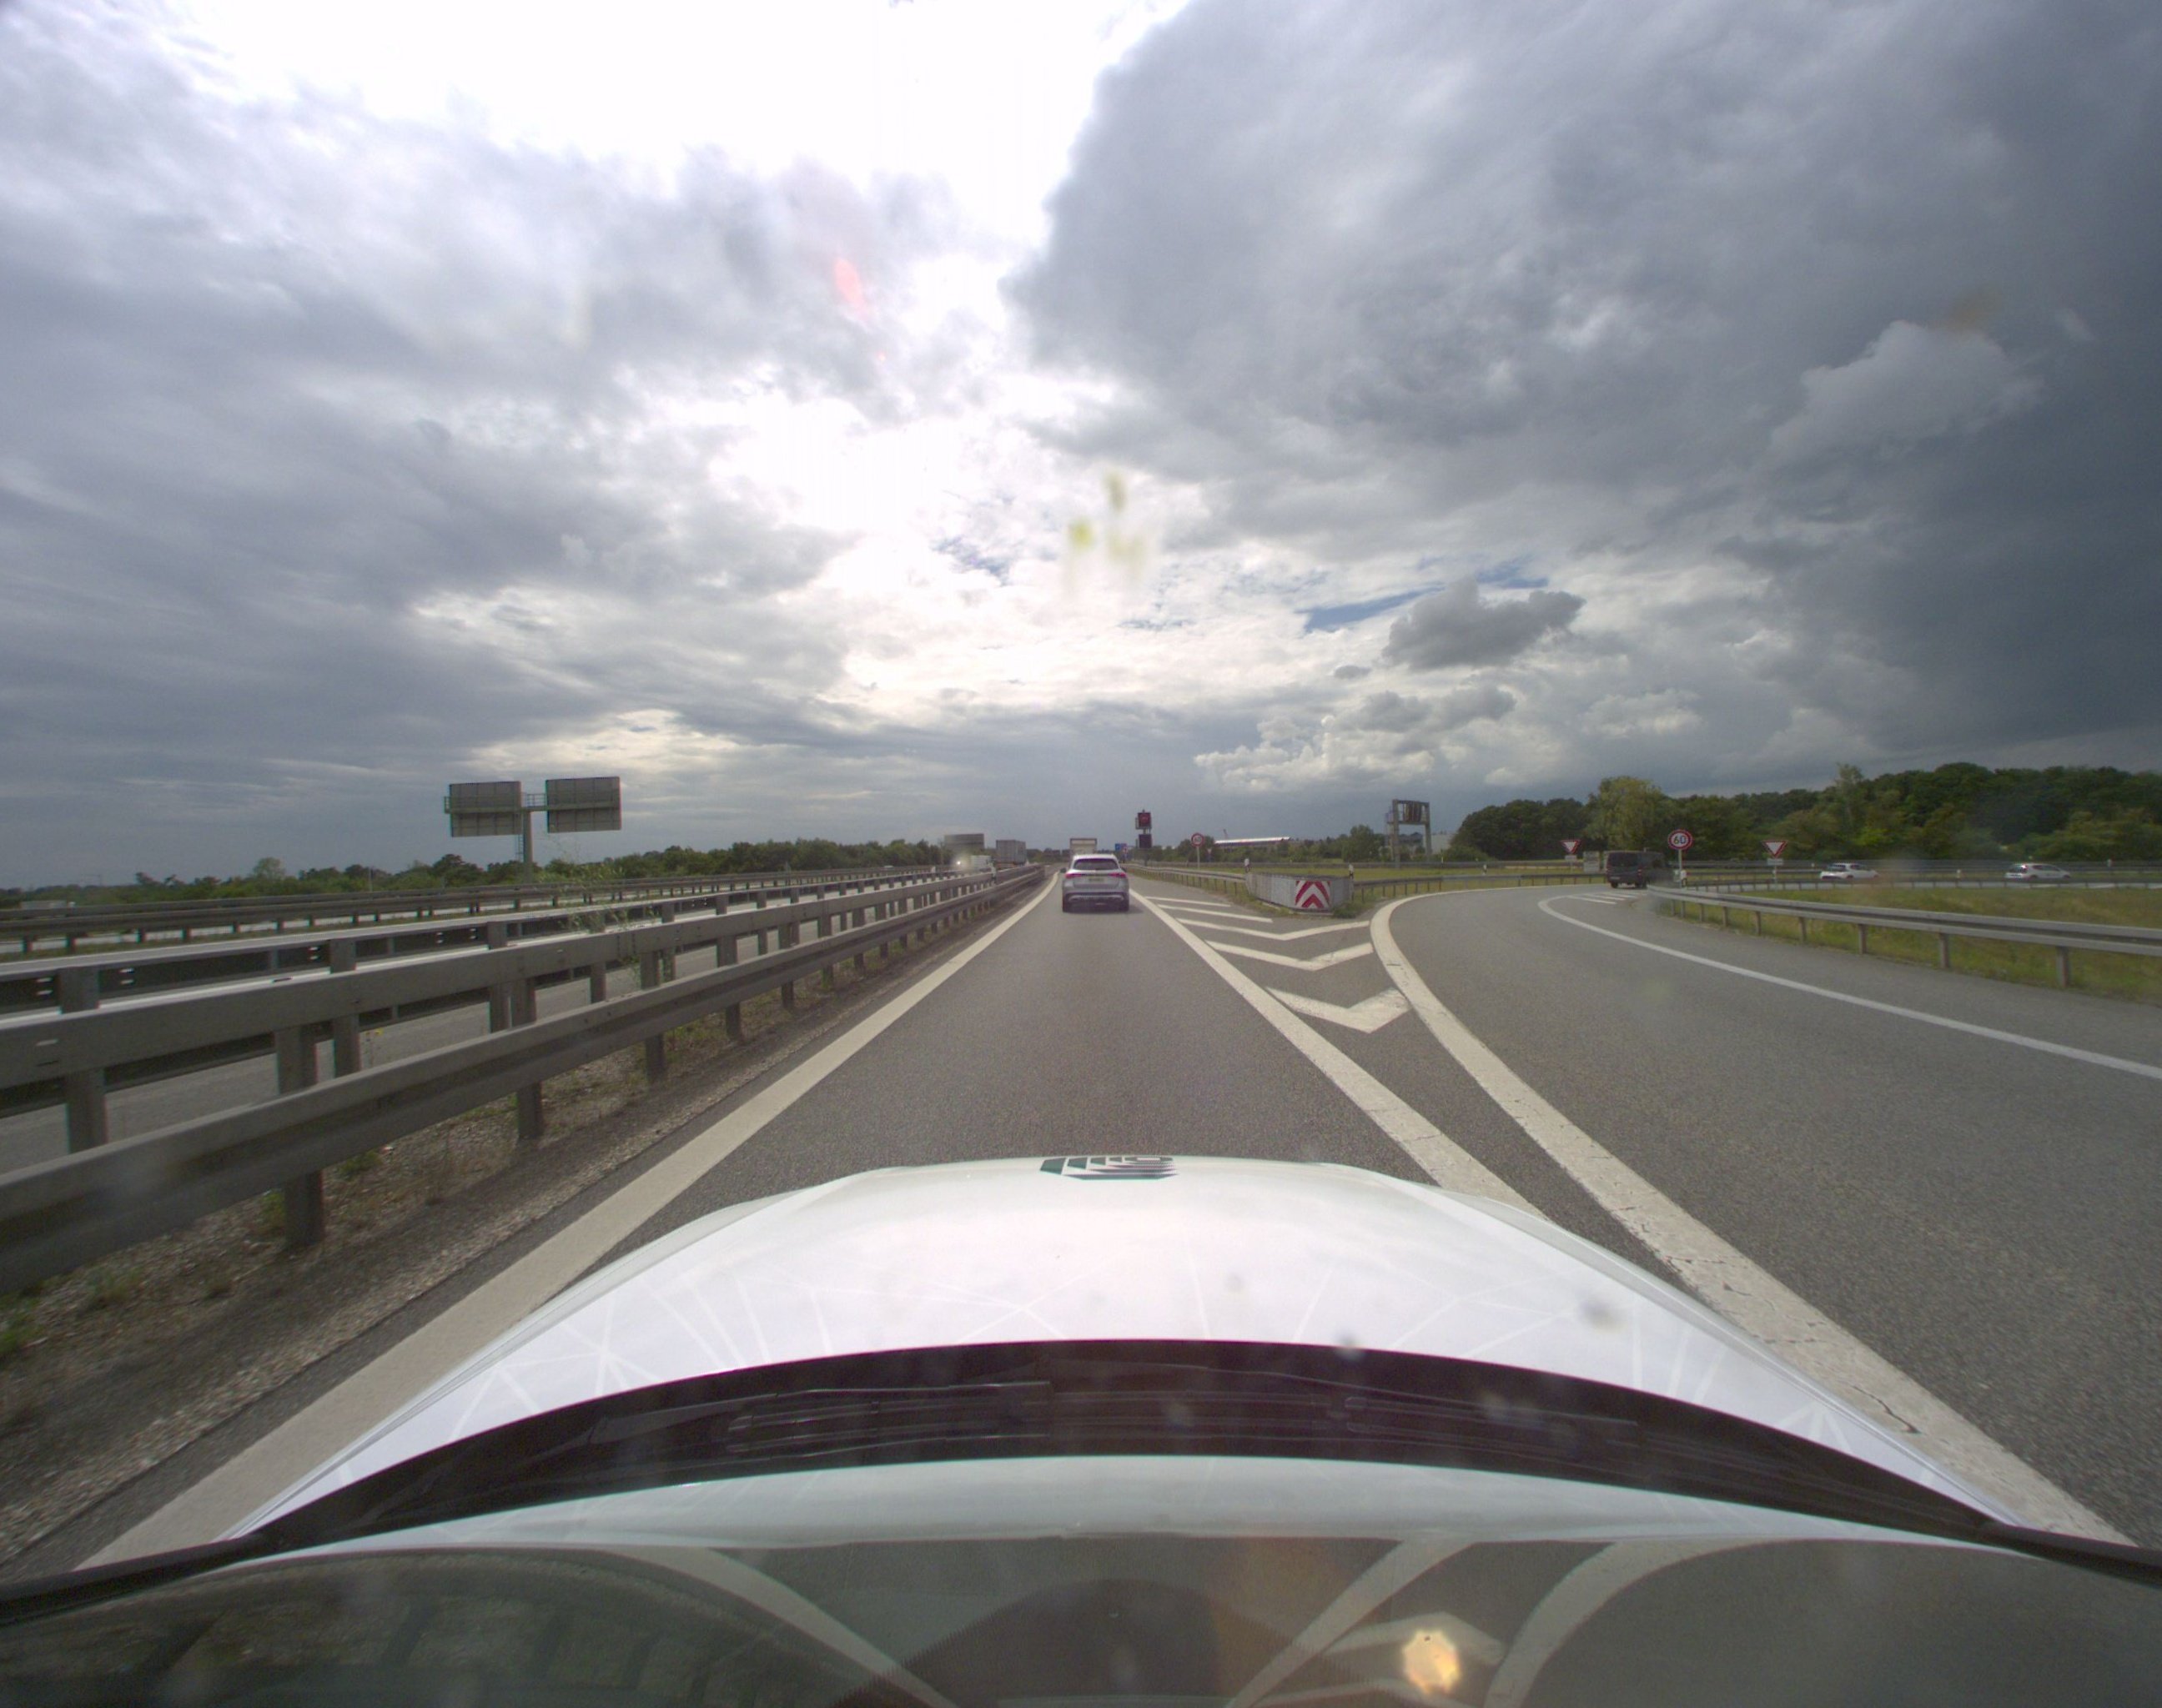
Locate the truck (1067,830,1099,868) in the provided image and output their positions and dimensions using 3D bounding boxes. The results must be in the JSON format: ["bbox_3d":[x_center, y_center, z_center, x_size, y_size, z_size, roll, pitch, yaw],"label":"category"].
[{"bbox_3d":[0.222,-0.353,70.904,2.560,3.126,8.634,-1,-1,1],"label":"truck"}]

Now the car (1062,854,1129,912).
[{"bbox_3d":[0.489,0.798,24.129,1.812,1.514,4.003,-1,1,2],"label":"car"}]

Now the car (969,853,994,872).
[{"bbox_3d":[-10.659,0.888,87.518,1.986,2.013,4.377,-1,1,2],"label":"car"}]

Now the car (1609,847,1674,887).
[{"bbox_3d":[34.477,0.752,50.016,4.670,2.262,1.891,-1,1,-37],"label":"car"}]

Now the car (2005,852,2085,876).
[{"bbox_3d":[73.995,0.768,62.534,3.977,1.709,1.998,-1,1,-3],"label":"car"}]

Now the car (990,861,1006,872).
[{"bbox_3d":[-12.826,1.935,125.883,1.874,1.546,4.617,-1,1,2],"label":"car"}]

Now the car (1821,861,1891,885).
[{"bbox_3d":[58.540,1.404,61.500,3.991,1.709,1.991,-1,1,-13],"label":"car"}]

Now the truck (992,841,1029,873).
[{"bbox_3d":[-9.419,0.231,111.184,3.172,4.018,16.080,-1,1,1],"label":"truck"}]
